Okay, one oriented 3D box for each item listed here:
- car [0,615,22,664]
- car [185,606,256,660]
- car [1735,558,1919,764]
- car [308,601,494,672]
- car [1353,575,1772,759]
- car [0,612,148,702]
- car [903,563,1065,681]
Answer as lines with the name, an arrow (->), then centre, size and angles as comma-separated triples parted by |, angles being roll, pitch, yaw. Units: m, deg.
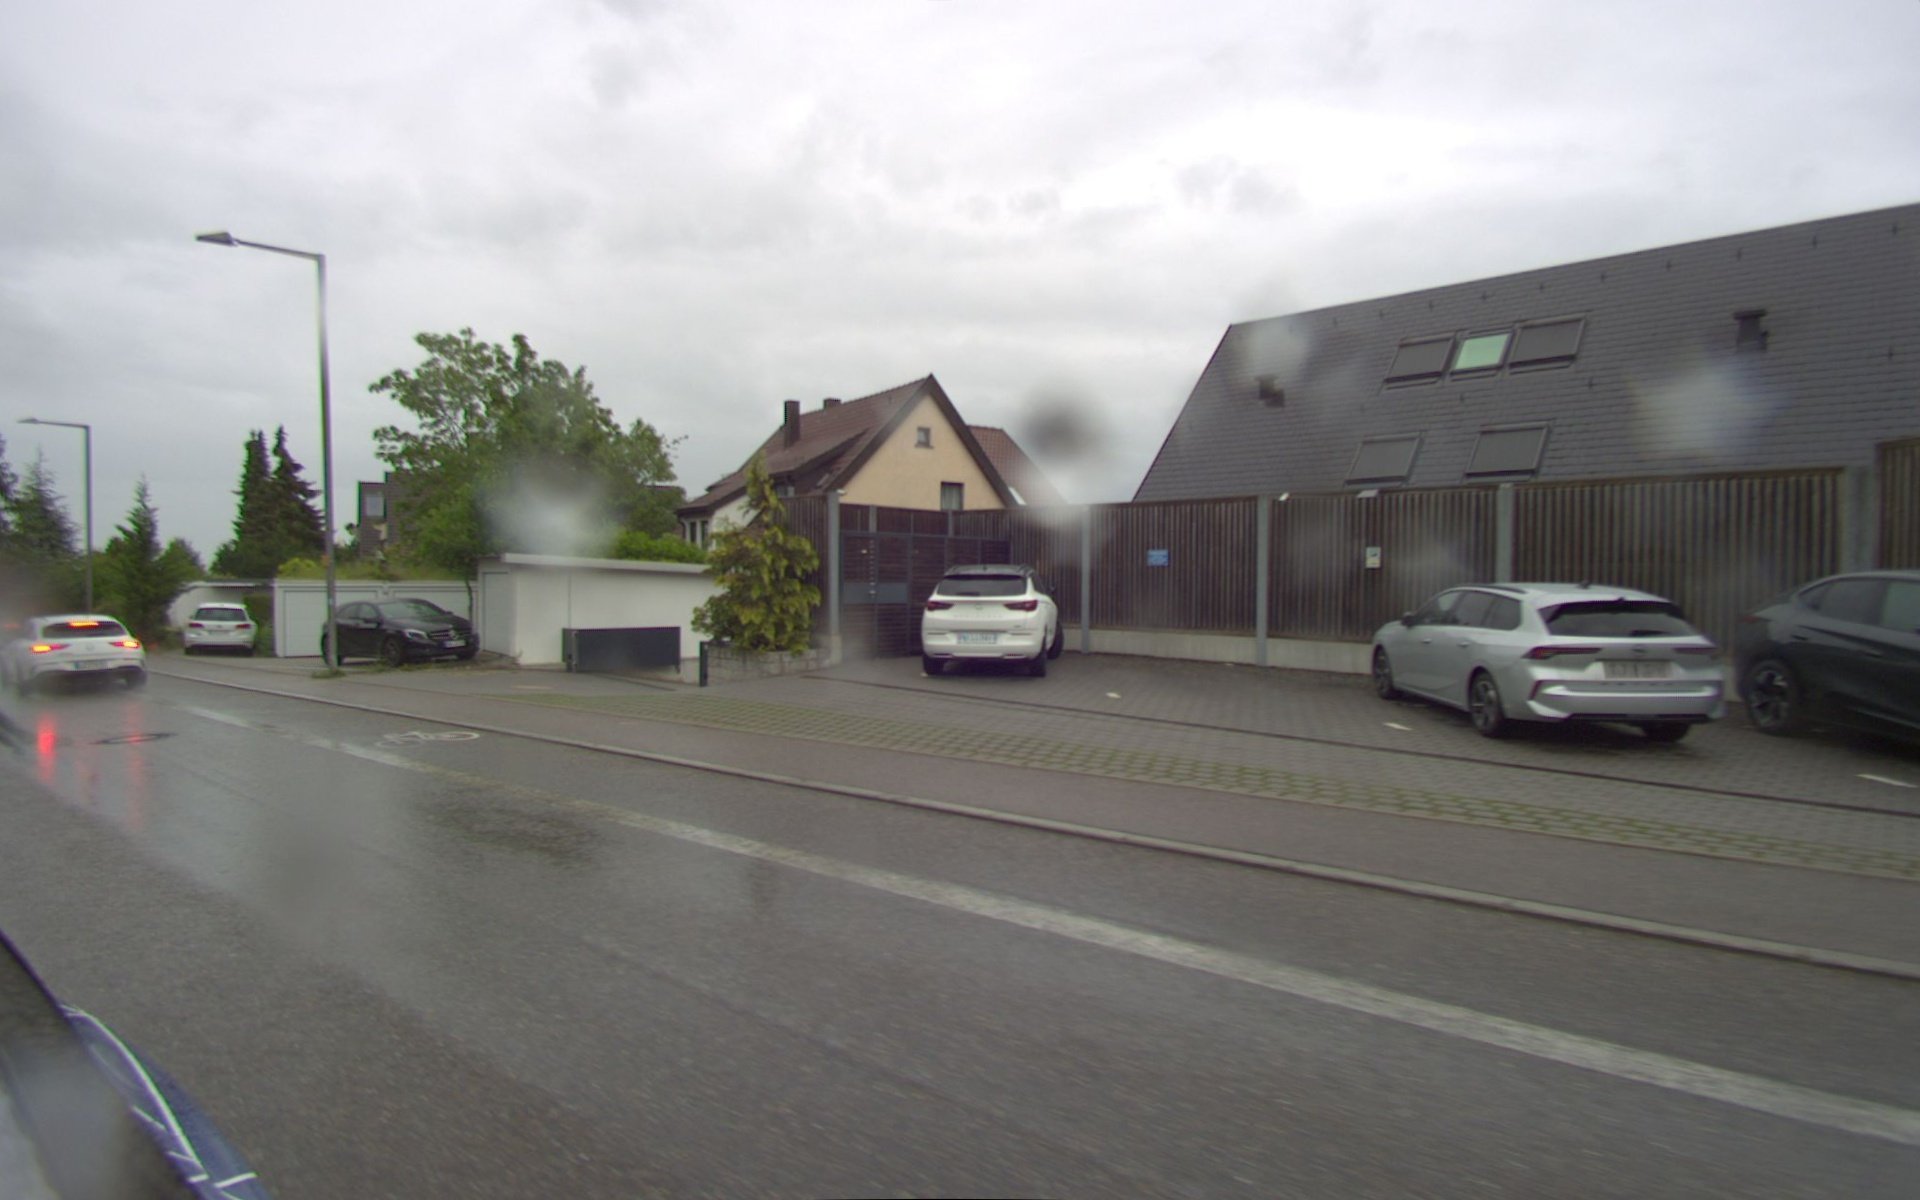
car -> -31.204, 1.275, 32.059 | 3.698, 1.480, 1.831 | -1, 1, 42
car -> -23.676, 1.010, 32.510 | 1.682, 1.565, 4.400 | -2, 1, -35
car -> 8.430, 0.455, 7.883 | 1.815, 1.612, 4.285 | -2, 1, 7
car -> -12.546, 0.792, 22.645 | 4.246, 1.416, 1.820 | -1, 1, 32
car -> 5.808, 0.496, 10.554 | 1.737, 1.453, 4.531 | -2, 1, 2
car -> -17.329, 1.020, 19.544 | 4.266, 1.471, 1.828 | -1, 1, 41
car -> 0.521, 0.285, 15.892 | 1.921, 1.586, 4.045 | -1, 1, 10
